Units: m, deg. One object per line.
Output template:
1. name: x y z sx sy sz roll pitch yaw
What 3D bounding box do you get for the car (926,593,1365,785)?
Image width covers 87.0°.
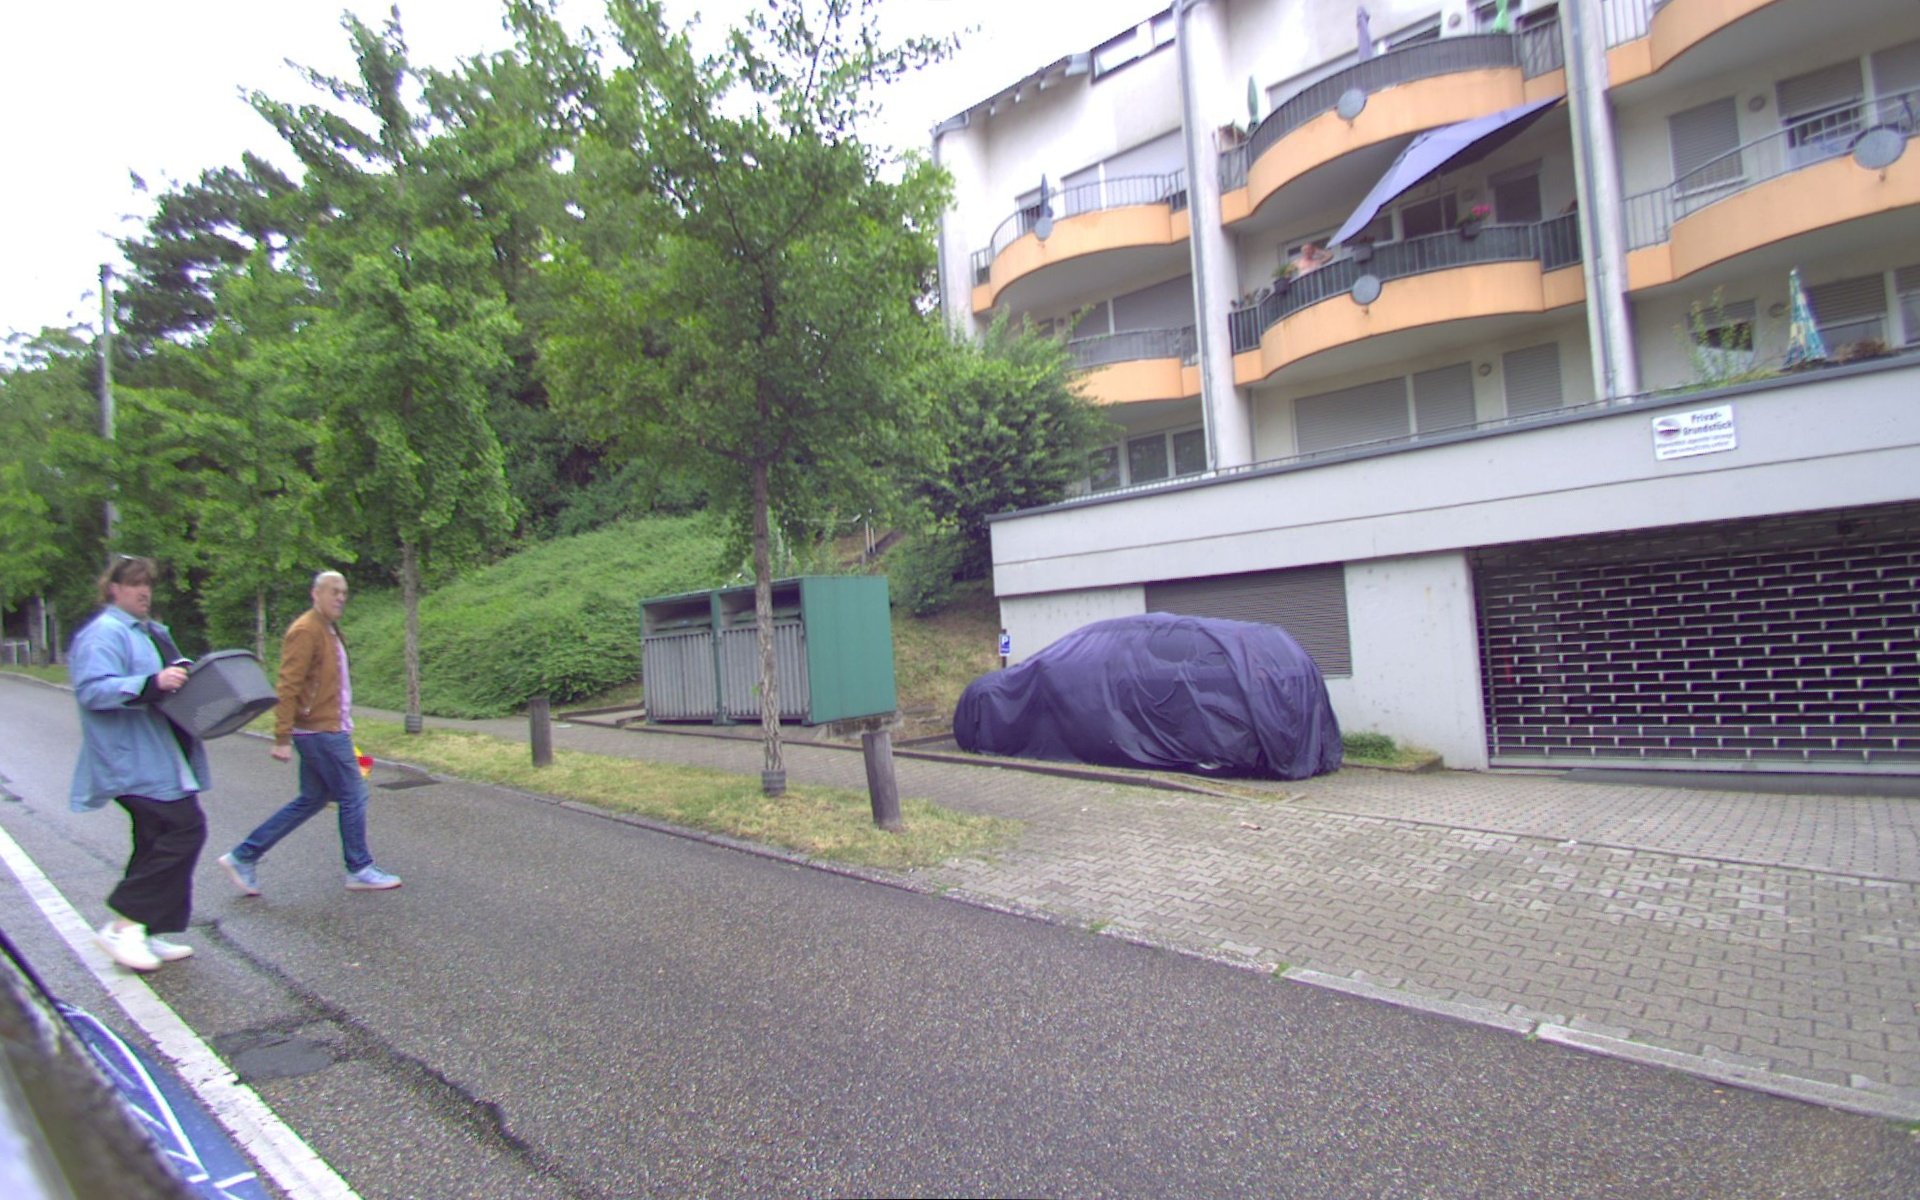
1. car: 1.754 0.824 10.343 4.096 1.573 1.759 -2 -5 41

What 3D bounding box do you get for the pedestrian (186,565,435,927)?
1. pedestrian: -3.540 0.734 5.637 1.055 1.795 0.827 0 -1 -25

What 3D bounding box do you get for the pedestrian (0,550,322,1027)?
1. pedestrian: -3.498 0.713 4.386 1.055 1.795 0.827 -3 1 -24
